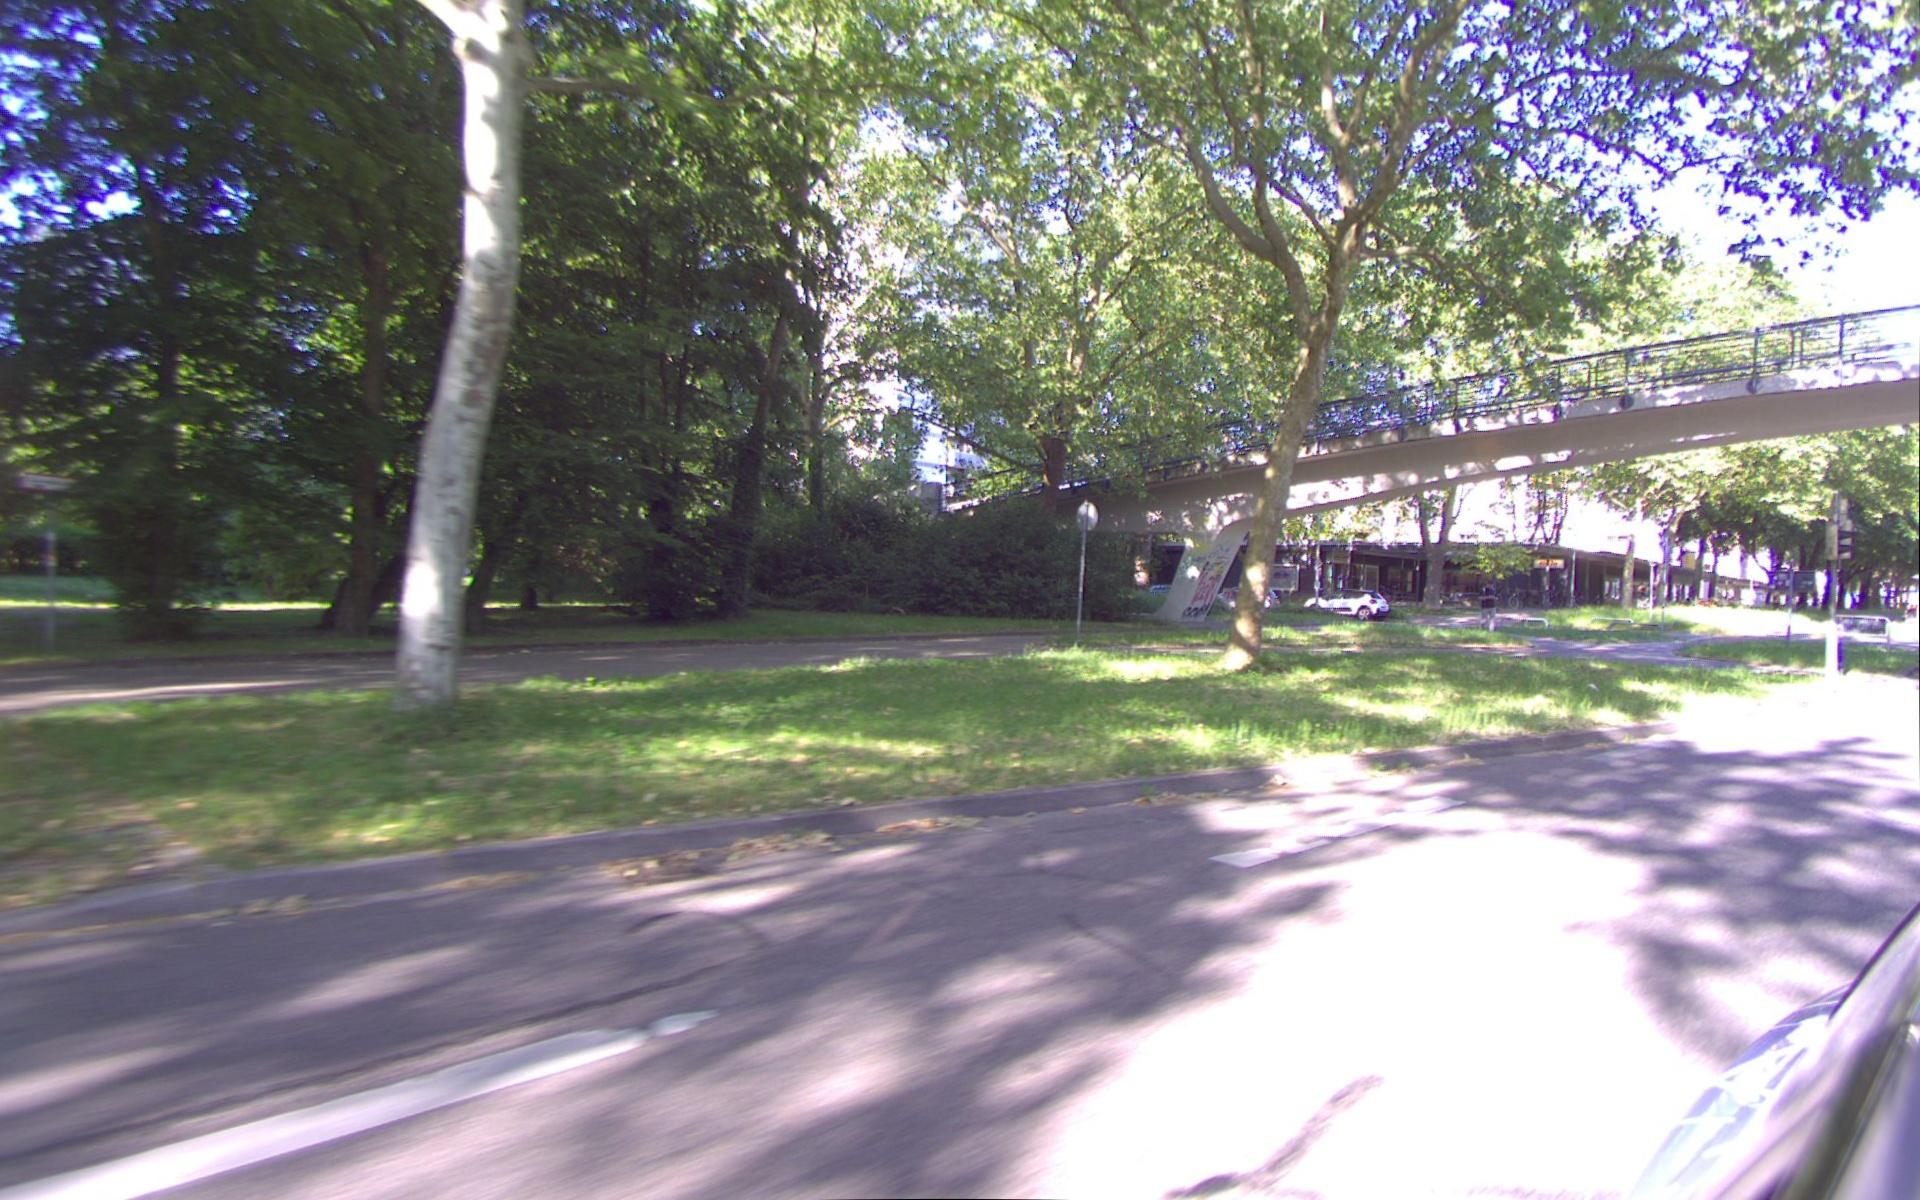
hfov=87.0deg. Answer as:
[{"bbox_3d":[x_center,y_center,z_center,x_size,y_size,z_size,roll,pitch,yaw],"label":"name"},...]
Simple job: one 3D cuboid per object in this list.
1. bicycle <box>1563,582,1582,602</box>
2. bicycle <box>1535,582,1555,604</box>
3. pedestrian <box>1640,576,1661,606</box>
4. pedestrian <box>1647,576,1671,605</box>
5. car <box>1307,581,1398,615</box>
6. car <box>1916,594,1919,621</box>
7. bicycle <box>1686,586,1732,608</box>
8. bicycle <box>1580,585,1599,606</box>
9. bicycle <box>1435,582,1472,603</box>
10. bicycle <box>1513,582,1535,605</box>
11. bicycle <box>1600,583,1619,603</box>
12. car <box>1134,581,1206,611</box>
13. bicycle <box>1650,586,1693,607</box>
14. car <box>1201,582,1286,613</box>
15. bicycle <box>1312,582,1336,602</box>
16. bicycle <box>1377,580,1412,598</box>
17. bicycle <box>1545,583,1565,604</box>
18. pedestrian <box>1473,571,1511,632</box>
[{"bbox_3d":[39.506,-0.528,65.297,1.775,1.269,0.576,0,0,-43],"label":"bicycle"},{"bbox_3d":[35.021,-0.413,60.582,1.775,1.269,0.576,0,0,-43],"label":"bicycle"},{"bbox_3d":[43.795,-0.601,64.194,0.963,1.863,0.939,2,2,40],"label":"pedestrian"},{"bbox_3d":[42.385,-0.561,61.361,1.126,1.729,0.722,2,2,40],"label":"pedestrian"},{"bbox_3d":[18.912,-0.089,48.895,1.680,1.515,3.733,3,-1,-43],"label":"car"},{"bbox_3d":[54.683,0.508,54.997,3.762,1.490,1.517,2,2,6],"label":"car"},{"bbox_3d":[43.662,-0.194,59.002,2.064,1.172,0.554,4,2,39],"label":"bicycle"},{"bbox_3d":[38.614,-0.299,62.080,1.775,1.269,0.576,0,0,-43],"label":"bicycle"},{"bbox_3d":[28.832,-0.445,59.122,1.800,1.129,0.700,3,3,42],"label":"bicycle"},{"bbox_3d":[32.233,-0.380,57.805,1.775,1.269,0.576,0,0,-43],"label":"bicycle"},{"bbox_3d":[42.046,-0.454,65.491,1.775,1.269,0.576,0,0,-43],"label":"bicycle"},{"bbox_3d":[11.625,-0.247,56.085,3.577,1.515,1.598,2,-1,42],"label":"car"},{"bbox_3d":[43.137,-0.206,61.355,0.550,1.172,2.077,1,2,-26],"label":"bicycle"},{"bbox_3d":[14.862,-0.138,53.175,3.965,1.515,1.644,2,-1,39],"label":"car"},{"bbox_3d":[21.224,-0.475,59.048,0.504,0.971,2.163,3,5,42],"label":"bicycle"},{"bbox_3d":[26.387,-0.653,61.513,1.800,0.966,0.700,5,4,42],"label":"bicycle"},{"bbox_3d":[36.472,-0.430,62.024,1.775,1.269,0.576,0,0,-43],"label":"bicycle"},{"bbox_3d":[16.148,0.052,30.723,0.725,1.800,0.660,2,0,-3],"label":"pedestrian"}]
